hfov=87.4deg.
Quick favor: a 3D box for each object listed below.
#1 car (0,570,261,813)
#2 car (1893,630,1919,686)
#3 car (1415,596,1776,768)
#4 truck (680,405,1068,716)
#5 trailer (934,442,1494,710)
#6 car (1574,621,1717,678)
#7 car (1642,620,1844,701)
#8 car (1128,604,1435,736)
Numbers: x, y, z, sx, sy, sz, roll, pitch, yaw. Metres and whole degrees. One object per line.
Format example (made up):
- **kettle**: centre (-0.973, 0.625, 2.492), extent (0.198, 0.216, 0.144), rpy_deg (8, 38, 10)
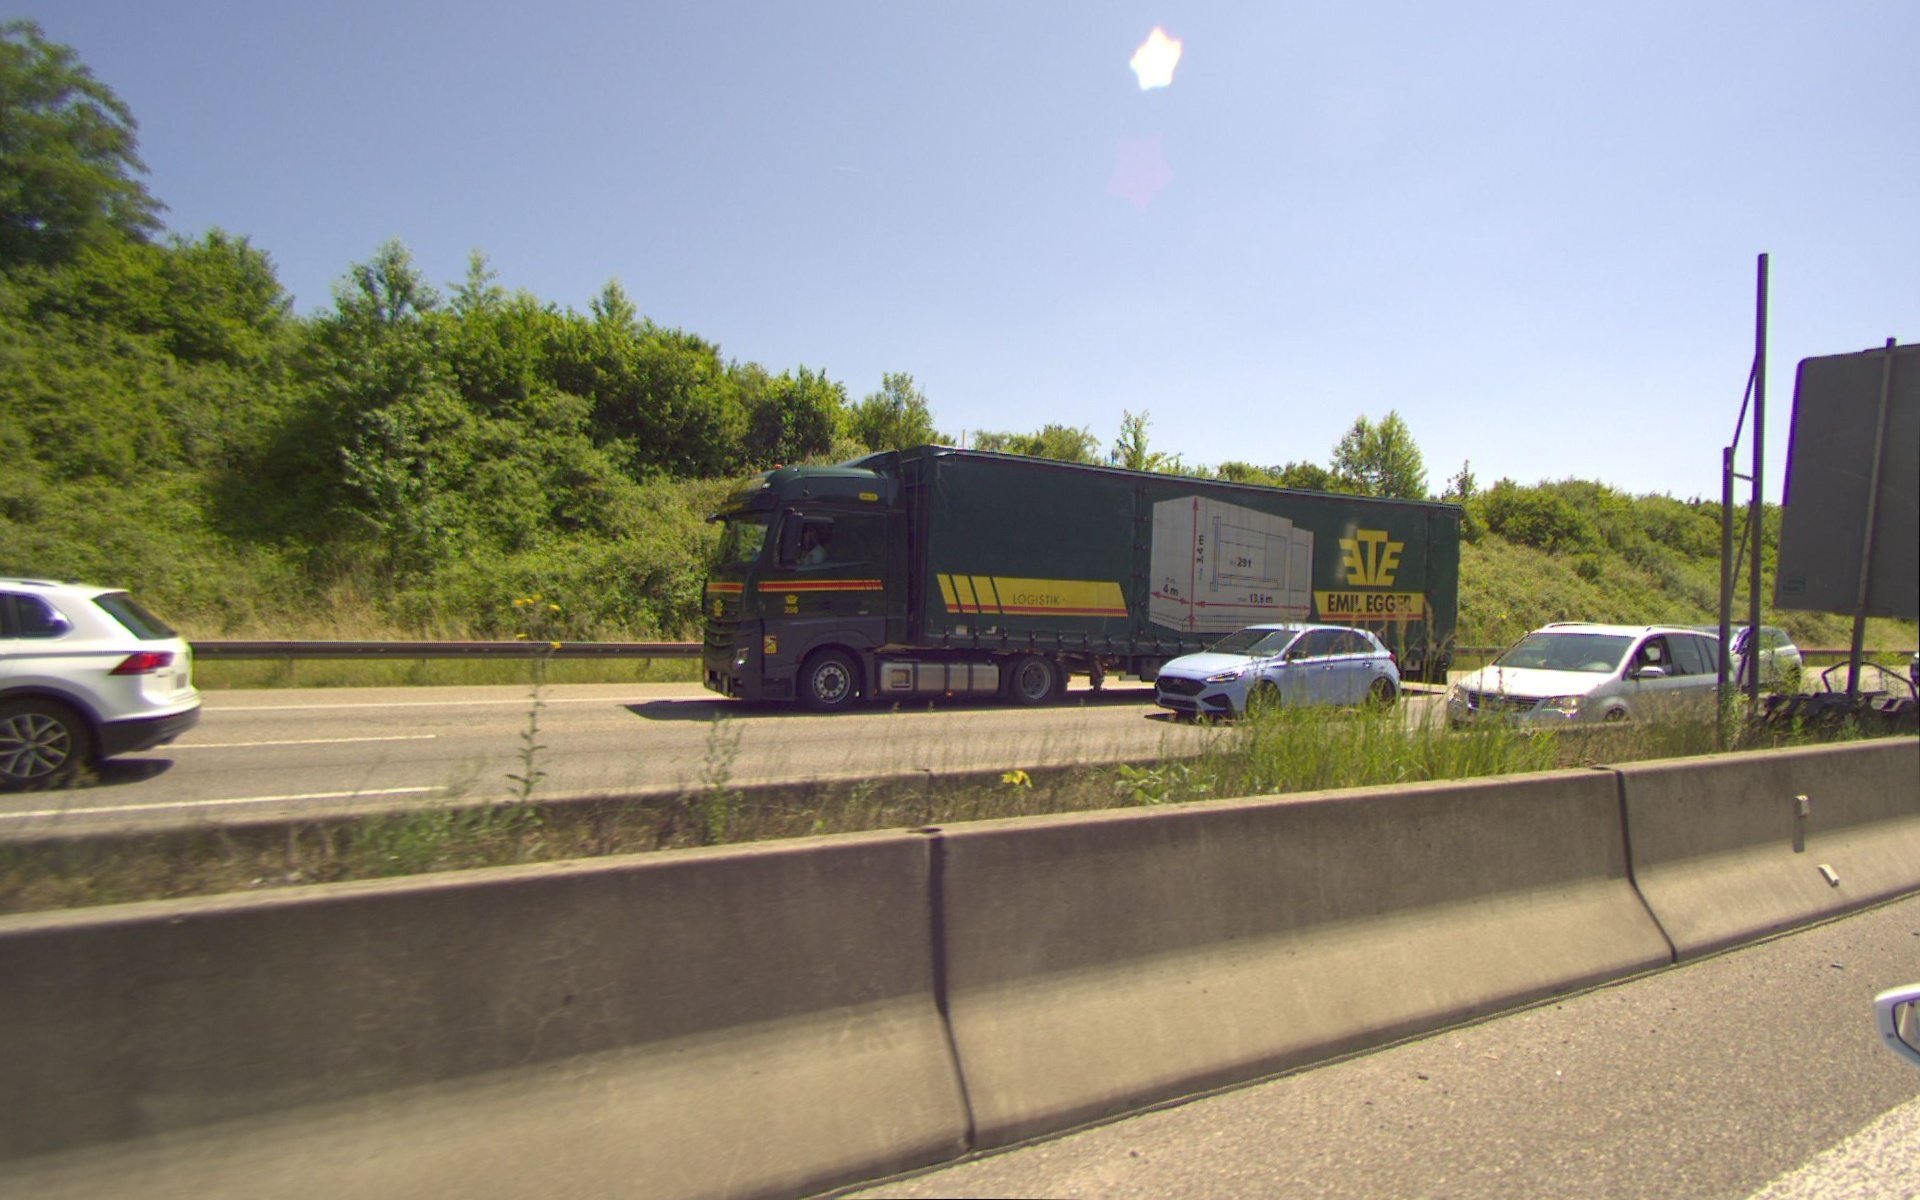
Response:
- **car**: centre (-8.406, 0.632, 7.611), extent (4.935, 1.788, 1.818), rpy_deg (2, 0, -32)
- **car**: centre (30.643, 1.808, 30.642), extent (4.850, 1.650, 1.803), rpy_deg (2, 0, -30)
- **car**: centre (8.056, 0.940, 12.586), extent (4.935, 1.788, 1.818), rpy_deg (2, 0, -32)
- **truck**: centre (-1.373, -0.464, 16.382), extent (5.561, 4.259, 2.806), rpy_deg (2, 0, -29)
- **trailer**: centre (5.725, -0.190, 20.545), extent (12.635, 4.318, 2.829), rpy_deg (2, 0, -30)
- **car**: centre (19.844, 1.426, 29.059), extent (4.073, 1.486, 1.803), rpy_deg (2, 0, -30)
- **car**: centre (17.937, 1.360, 22.953), extent (5.157, 1.650, 1.803), rpy_deg (2, 0, -30)
- **car**: centre (5.162, 1.046, 15.877), extent (4.935, 1.788, 1.818), rpy_deg (2, 0, -32)
